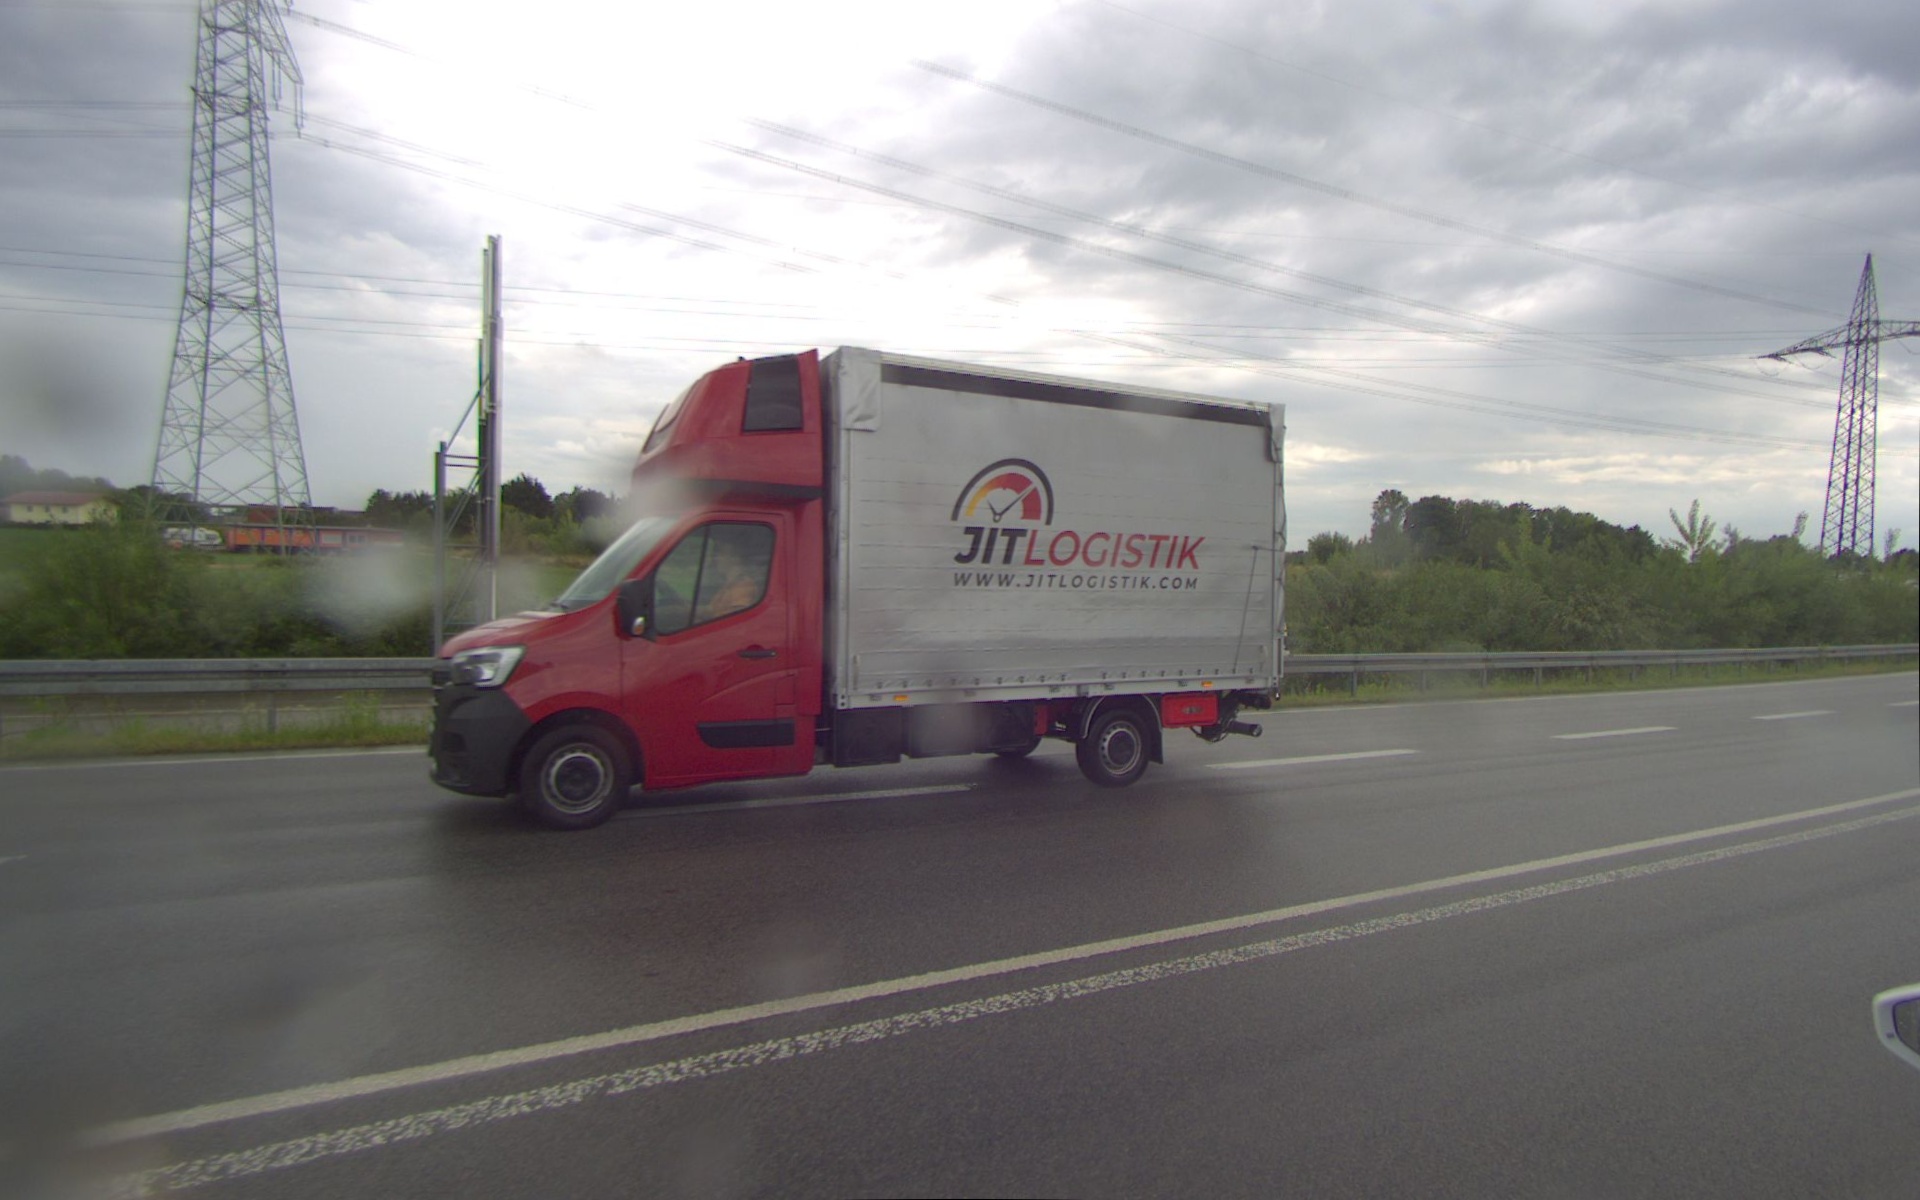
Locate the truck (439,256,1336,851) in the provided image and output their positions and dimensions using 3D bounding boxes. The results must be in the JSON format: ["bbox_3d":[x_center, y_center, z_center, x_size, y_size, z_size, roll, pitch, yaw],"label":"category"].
[{"bbox_3d":[-0.314,-0.198,8.477,7.191,3.336,2.470,1,-1,-29],"label":"truck"}]
